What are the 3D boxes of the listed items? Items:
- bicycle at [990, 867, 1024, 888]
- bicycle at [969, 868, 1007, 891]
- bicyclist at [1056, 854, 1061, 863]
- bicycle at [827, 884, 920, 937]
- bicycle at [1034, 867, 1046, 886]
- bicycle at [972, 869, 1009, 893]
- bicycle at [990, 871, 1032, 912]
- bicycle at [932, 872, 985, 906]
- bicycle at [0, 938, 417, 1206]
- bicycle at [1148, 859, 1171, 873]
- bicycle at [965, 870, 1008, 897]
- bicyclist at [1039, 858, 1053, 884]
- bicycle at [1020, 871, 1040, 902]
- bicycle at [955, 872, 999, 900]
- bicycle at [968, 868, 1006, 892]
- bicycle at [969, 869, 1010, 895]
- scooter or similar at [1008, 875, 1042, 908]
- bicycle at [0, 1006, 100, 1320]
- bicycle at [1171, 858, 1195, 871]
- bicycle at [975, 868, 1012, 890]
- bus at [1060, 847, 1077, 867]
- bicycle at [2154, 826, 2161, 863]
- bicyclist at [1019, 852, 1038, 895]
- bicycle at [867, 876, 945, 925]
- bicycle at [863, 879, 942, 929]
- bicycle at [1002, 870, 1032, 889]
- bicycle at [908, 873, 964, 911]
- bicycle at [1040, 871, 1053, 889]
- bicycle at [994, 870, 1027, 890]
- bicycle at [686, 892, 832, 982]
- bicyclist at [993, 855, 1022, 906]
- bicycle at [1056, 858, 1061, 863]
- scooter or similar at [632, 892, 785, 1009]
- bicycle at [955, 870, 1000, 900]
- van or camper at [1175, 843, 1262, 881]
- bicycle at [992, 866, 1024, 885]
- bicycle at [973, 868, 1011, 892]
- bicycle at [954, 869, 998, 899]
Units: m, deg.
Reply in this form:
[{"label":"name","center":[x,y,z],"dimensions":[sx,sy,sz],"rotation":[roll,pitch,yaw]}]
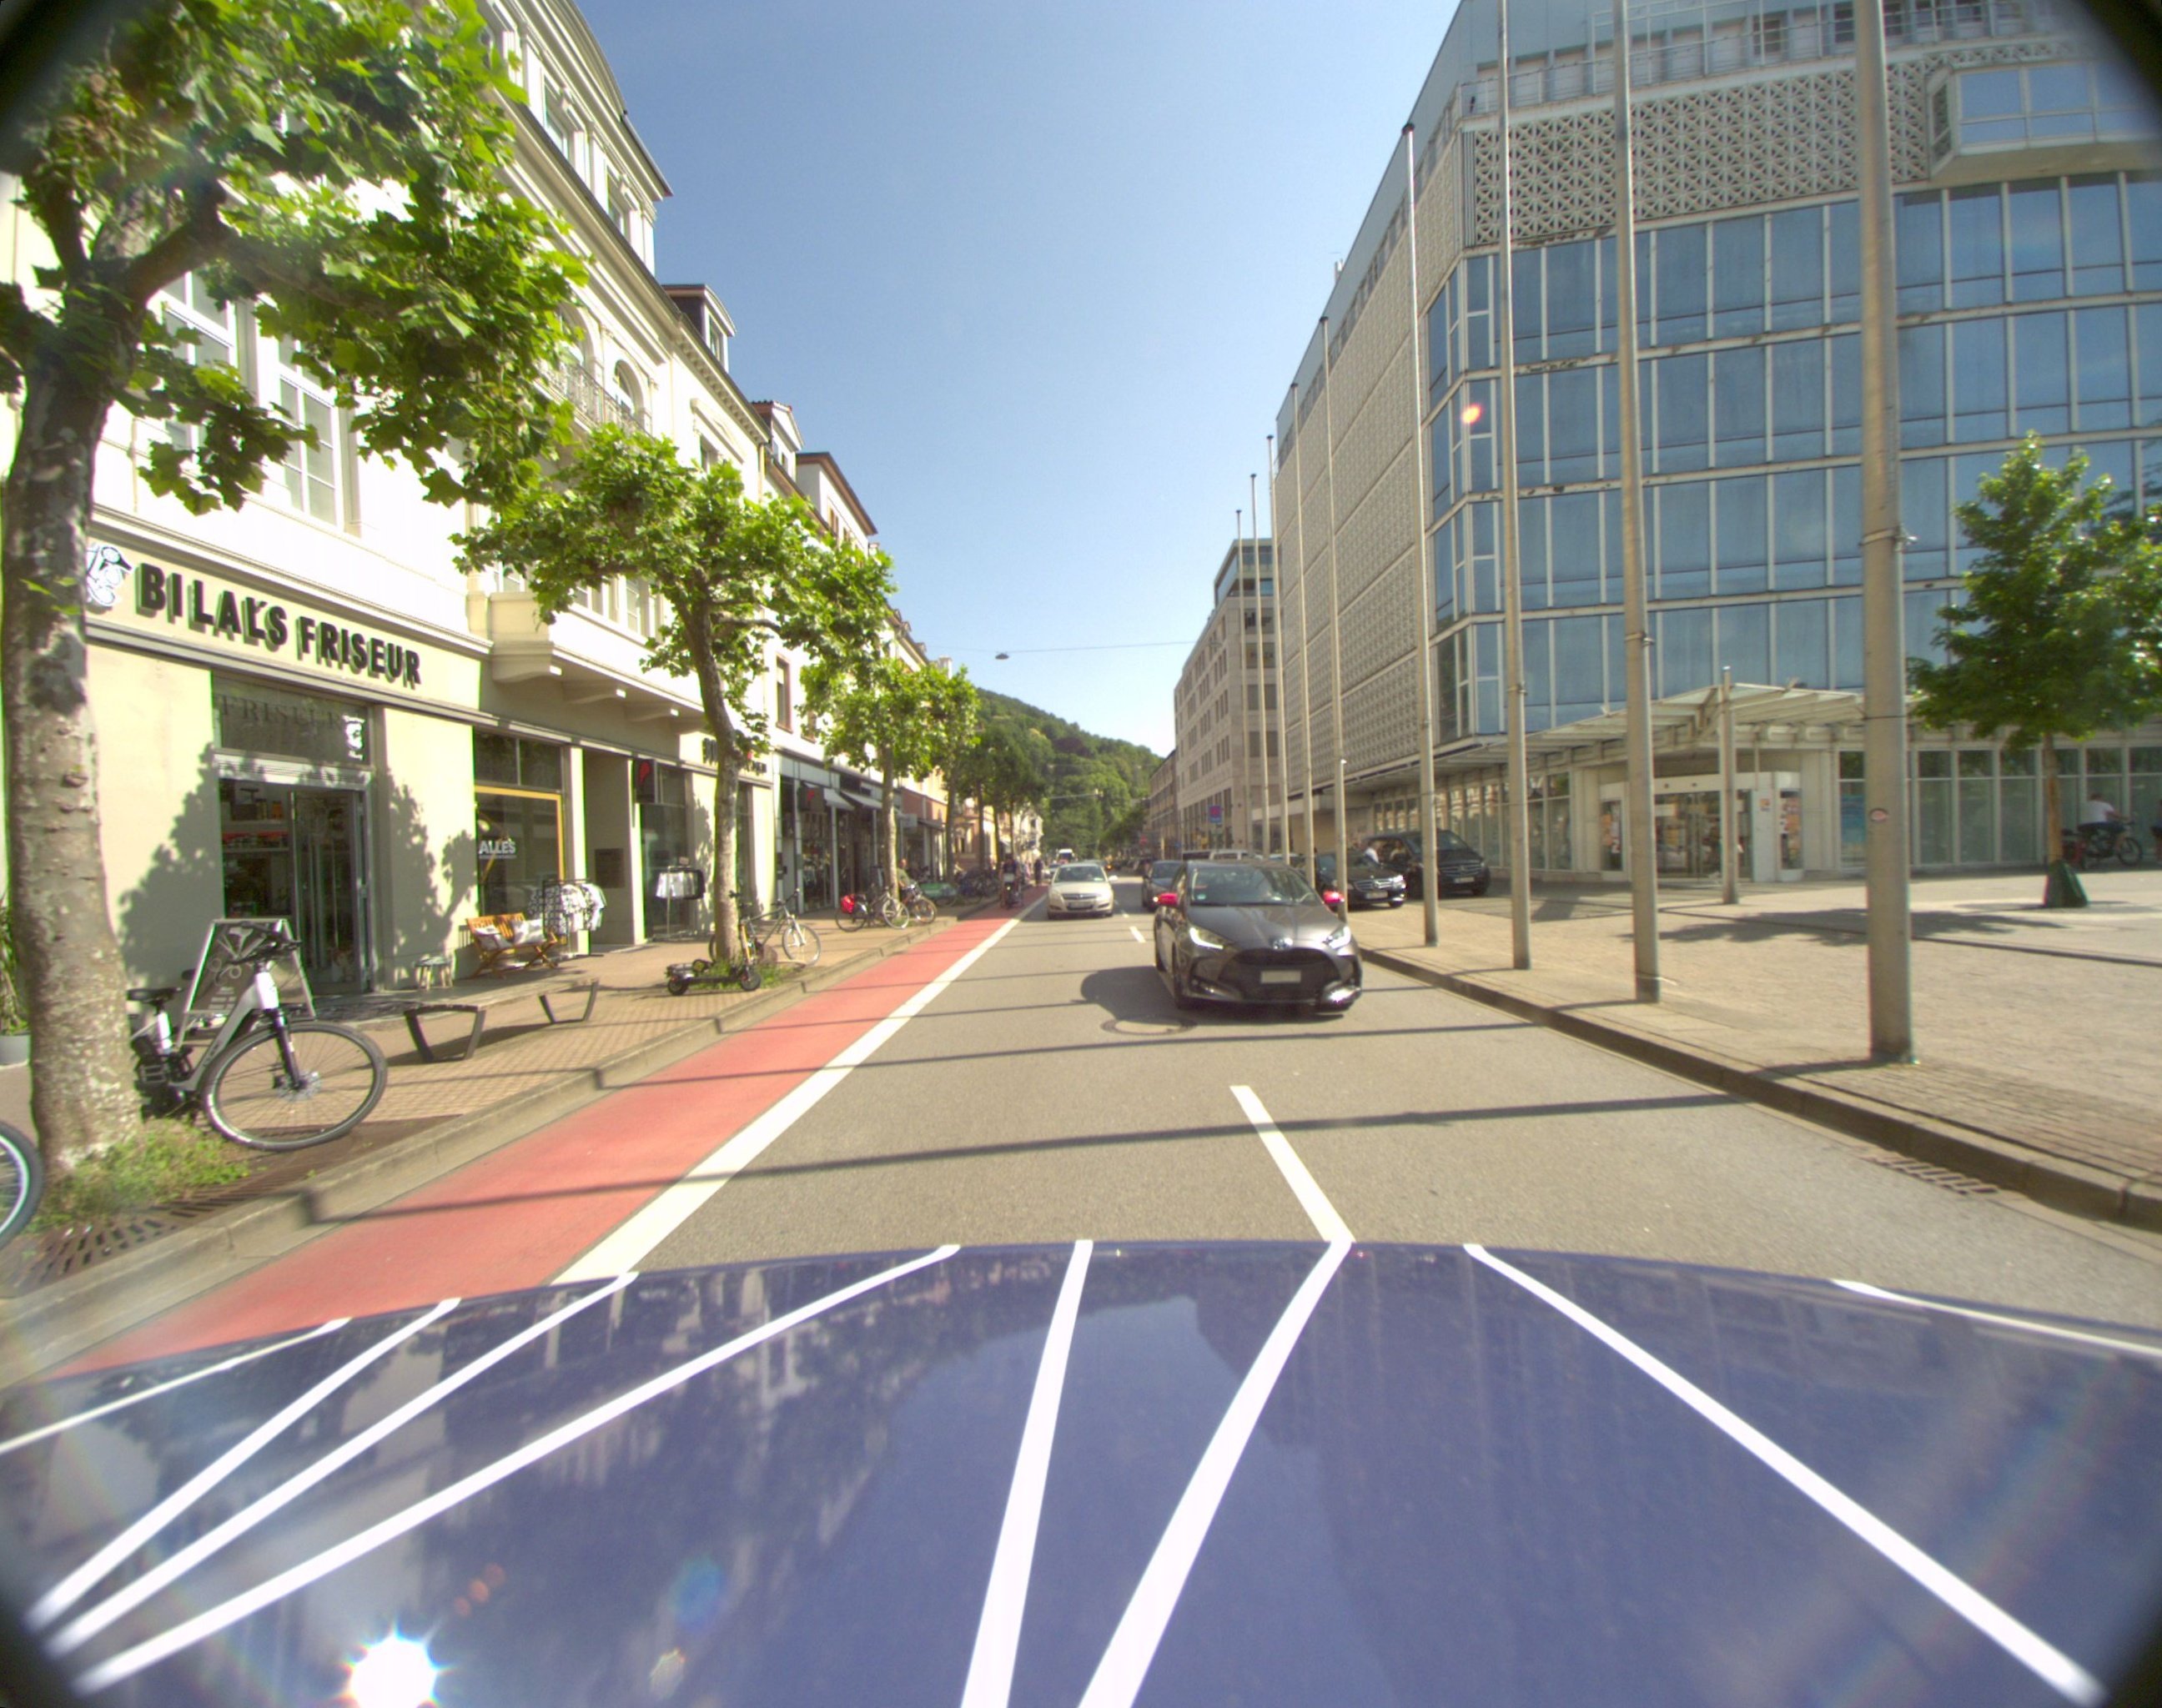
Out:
[{"label":"bicycle","center":[-4.261,1.330,43.616],"dimensions":[1.844,1.120,0.666],"rotation":[-2,1,2]},{"label":"bicycle","center":[-4.777,1.319,38.992],"dimensions":[1.844,1.120,0.448],"rotation":[-2,2,3]},{"label":"bicyclist","center":[-4.488,0.901,151.815],"dimensions":[0.747,1.693,1.036],"rotation":[-1,1,1]},{"label":"bicycle","center":[-4.751,1.280,17.430],"dimensions":[1.844,1.090,0.794],"rotation":[-3,0,6]},{"label":"bicycle","center":[-2.521,1.406,47.151],"dimensions":[0.607,1.120,1.860],"rotation":[0,1,2]},{"label":"bicycle","center":[-4.440,1.316,37.227],"dimensions":[1.841,1.120,0.449],"rotation":[-1,2,29]},{"label":"bicycle","center":[-2.314,1.212,25.350],"dimensions":[0.733,1.261,2.284],"rotation":[-3,-1,10]},{"label":"bicycle","center":[-4.544,1.301,28.176],"dimensions":[1.845,1.120,0.497],"rotation":[-4,-1,-7]},{"label":"bicycle","center":[-4.987,1.160,4.223],"dimensions":[1.936,1.241,0.736],"rotation":[-2,0,3]},{"label":"bicycle","center":[7.119,1.070,68.983],"dimensions":[0.606,1.166,2.059],"rotation":[-4,1,-45]},{"label":"bicycle","center":[-4.323,1.342,34.842],"dimensions":[1.844,1.087,0.564],"rotation":[-3,1,1]},{"label":"bicyclist","center":[-2.307,1.098,49.655],"dimensions":[0.840,1.707,0.844],"rotation":[-1,1,1]},{"label":"bicycle","center":[-2.061,1.299,30.755],"dimensions":[0.737,1.120,2.033],"rotation":[-2,0,-2]},{"label":"bicycle","center":[-4.548,1.367,33.131],"dimensions":[1.846,1.087,0.564],"rotation":[-3,1,-10]},{"label":"bicycle","center":[-4.764,1.319,38.532],"dimensions":[1.844,1.120,0.448],"rotation":[-2,2,3]},{"label":"bicycle","center":[-4.333,1.301,36.197],"dimensions":[1.849,1.120,0.592],"rotation":[-3,2,-35]},{"label":"scooter or similar","center":[-1.973,1.326,26.983],"dimensions":[0.784,1.054,1.127],"rotation":[-3,0,18]},{"label":"bicycle","center":[-4.869,1.201,2.741],"dimensions":[1.732,1.102,0.736],"rotation":[-2,0,3]},{"label":"bicycle","center":[9.376,0.946,69.638],"dimensions":[2.059,1.120,0.648],"rotation":[-2,0,27]},{"label":"bicycle","center":[-4.760,1.338,41.389],"dimensions":[1.843,1.120,0.680],"rotation":[-2,2,7]},{"label":"bus","center":[-2.371,0.454,139.227],"dimensions":[2.924,3.515,12.498],"rotation":[-1,0,-1]},{"label":"bicycle","center":[28.835,-0.275,19.179],"dimensions":[0.574,0.960,1.936],"rotation":[-3,0,-10]},{"label":"bicyclist","center":[-2.108,0.765,30.805],"dimensions":[0.684,1.707,0.844],"rotation":[-2,1,-2]},{"label":"bicycle","center":[-4.632,1.224,20.150],"dimensions":[1.843,1.190,0.674],"rotation":[-3,1,8]},{"label":"bicycle","center":[-4.477,1.259,19.082],"dimensions":[1.843,1.120,0.498],"rotation":[-3,1,12]},{"label":"bicycle","center":[-4.196,1.678,49.935],"dimensions":[1.855,0.396,1.014],"rotation":[-10,35,5]},{"label":"bicycle","center":[-5.044,1.304,26.516],"dimensions":[1.783,1.190,0.576],"rotation":[-3,1,-27]},{"label":"bicycle","center":[-2.266,1.708,49.837],"dimensions":[0.664,1.111,1.992],"rotation":[-1,-2,2]},{"label":"bicycle","center":[-4.233,1.526,45.476],"dimensions":[1.844,1.120,0.643],"rotation":[-2,1,2]},{"label":"bicycle","center":[-4.774,1.220,11.321],"dimensions":[1.844,1.179,0.670],"rotation":[-3,1,6]},{"label":"bicyclist","center":[-2.442,0.883,25.351],"dimensions":[0.732,1.664,0.775],"rotation":[-1,1,10]},{"label":"bicycle","center":[-4.467,1.314,152.210],"dimensions":[0.743,1.120,2.573],"rotation":[0,1,2]},{"label":"scooter or similar","center":[-4.460,1.143,9.129],"dimensions":[1.477,1.267,0.670],"rotation":[-3,1,12]},{"label":"bicycle","center":[-4.456,1.302,32.630],"dimensions":[1.846,1.120,0.632],"rotation":[-4,1,-10]},{"label":"van or camper","center":[8.209,0.478,45.558],"dimensions":[4.648,2.001,2.004],"rotation":[-4,-1,40]},{"label":"bicycle","center":[-4.507,1.314,47.053],"dimensions":[1.844,1.120,0.666],"rotation":[-2,1,2]},{"label":"bicycle","center":[-4.667,1.353,39.792],"dimensions":[1.843,1.120,0.530],"rotation":[-4,1,13]},{"label":"bicycle","center":[-4.681,1.329,33.874],"dimensions":[1.846,1.120,0.764],"rotation":[-4,2,-12]}]
